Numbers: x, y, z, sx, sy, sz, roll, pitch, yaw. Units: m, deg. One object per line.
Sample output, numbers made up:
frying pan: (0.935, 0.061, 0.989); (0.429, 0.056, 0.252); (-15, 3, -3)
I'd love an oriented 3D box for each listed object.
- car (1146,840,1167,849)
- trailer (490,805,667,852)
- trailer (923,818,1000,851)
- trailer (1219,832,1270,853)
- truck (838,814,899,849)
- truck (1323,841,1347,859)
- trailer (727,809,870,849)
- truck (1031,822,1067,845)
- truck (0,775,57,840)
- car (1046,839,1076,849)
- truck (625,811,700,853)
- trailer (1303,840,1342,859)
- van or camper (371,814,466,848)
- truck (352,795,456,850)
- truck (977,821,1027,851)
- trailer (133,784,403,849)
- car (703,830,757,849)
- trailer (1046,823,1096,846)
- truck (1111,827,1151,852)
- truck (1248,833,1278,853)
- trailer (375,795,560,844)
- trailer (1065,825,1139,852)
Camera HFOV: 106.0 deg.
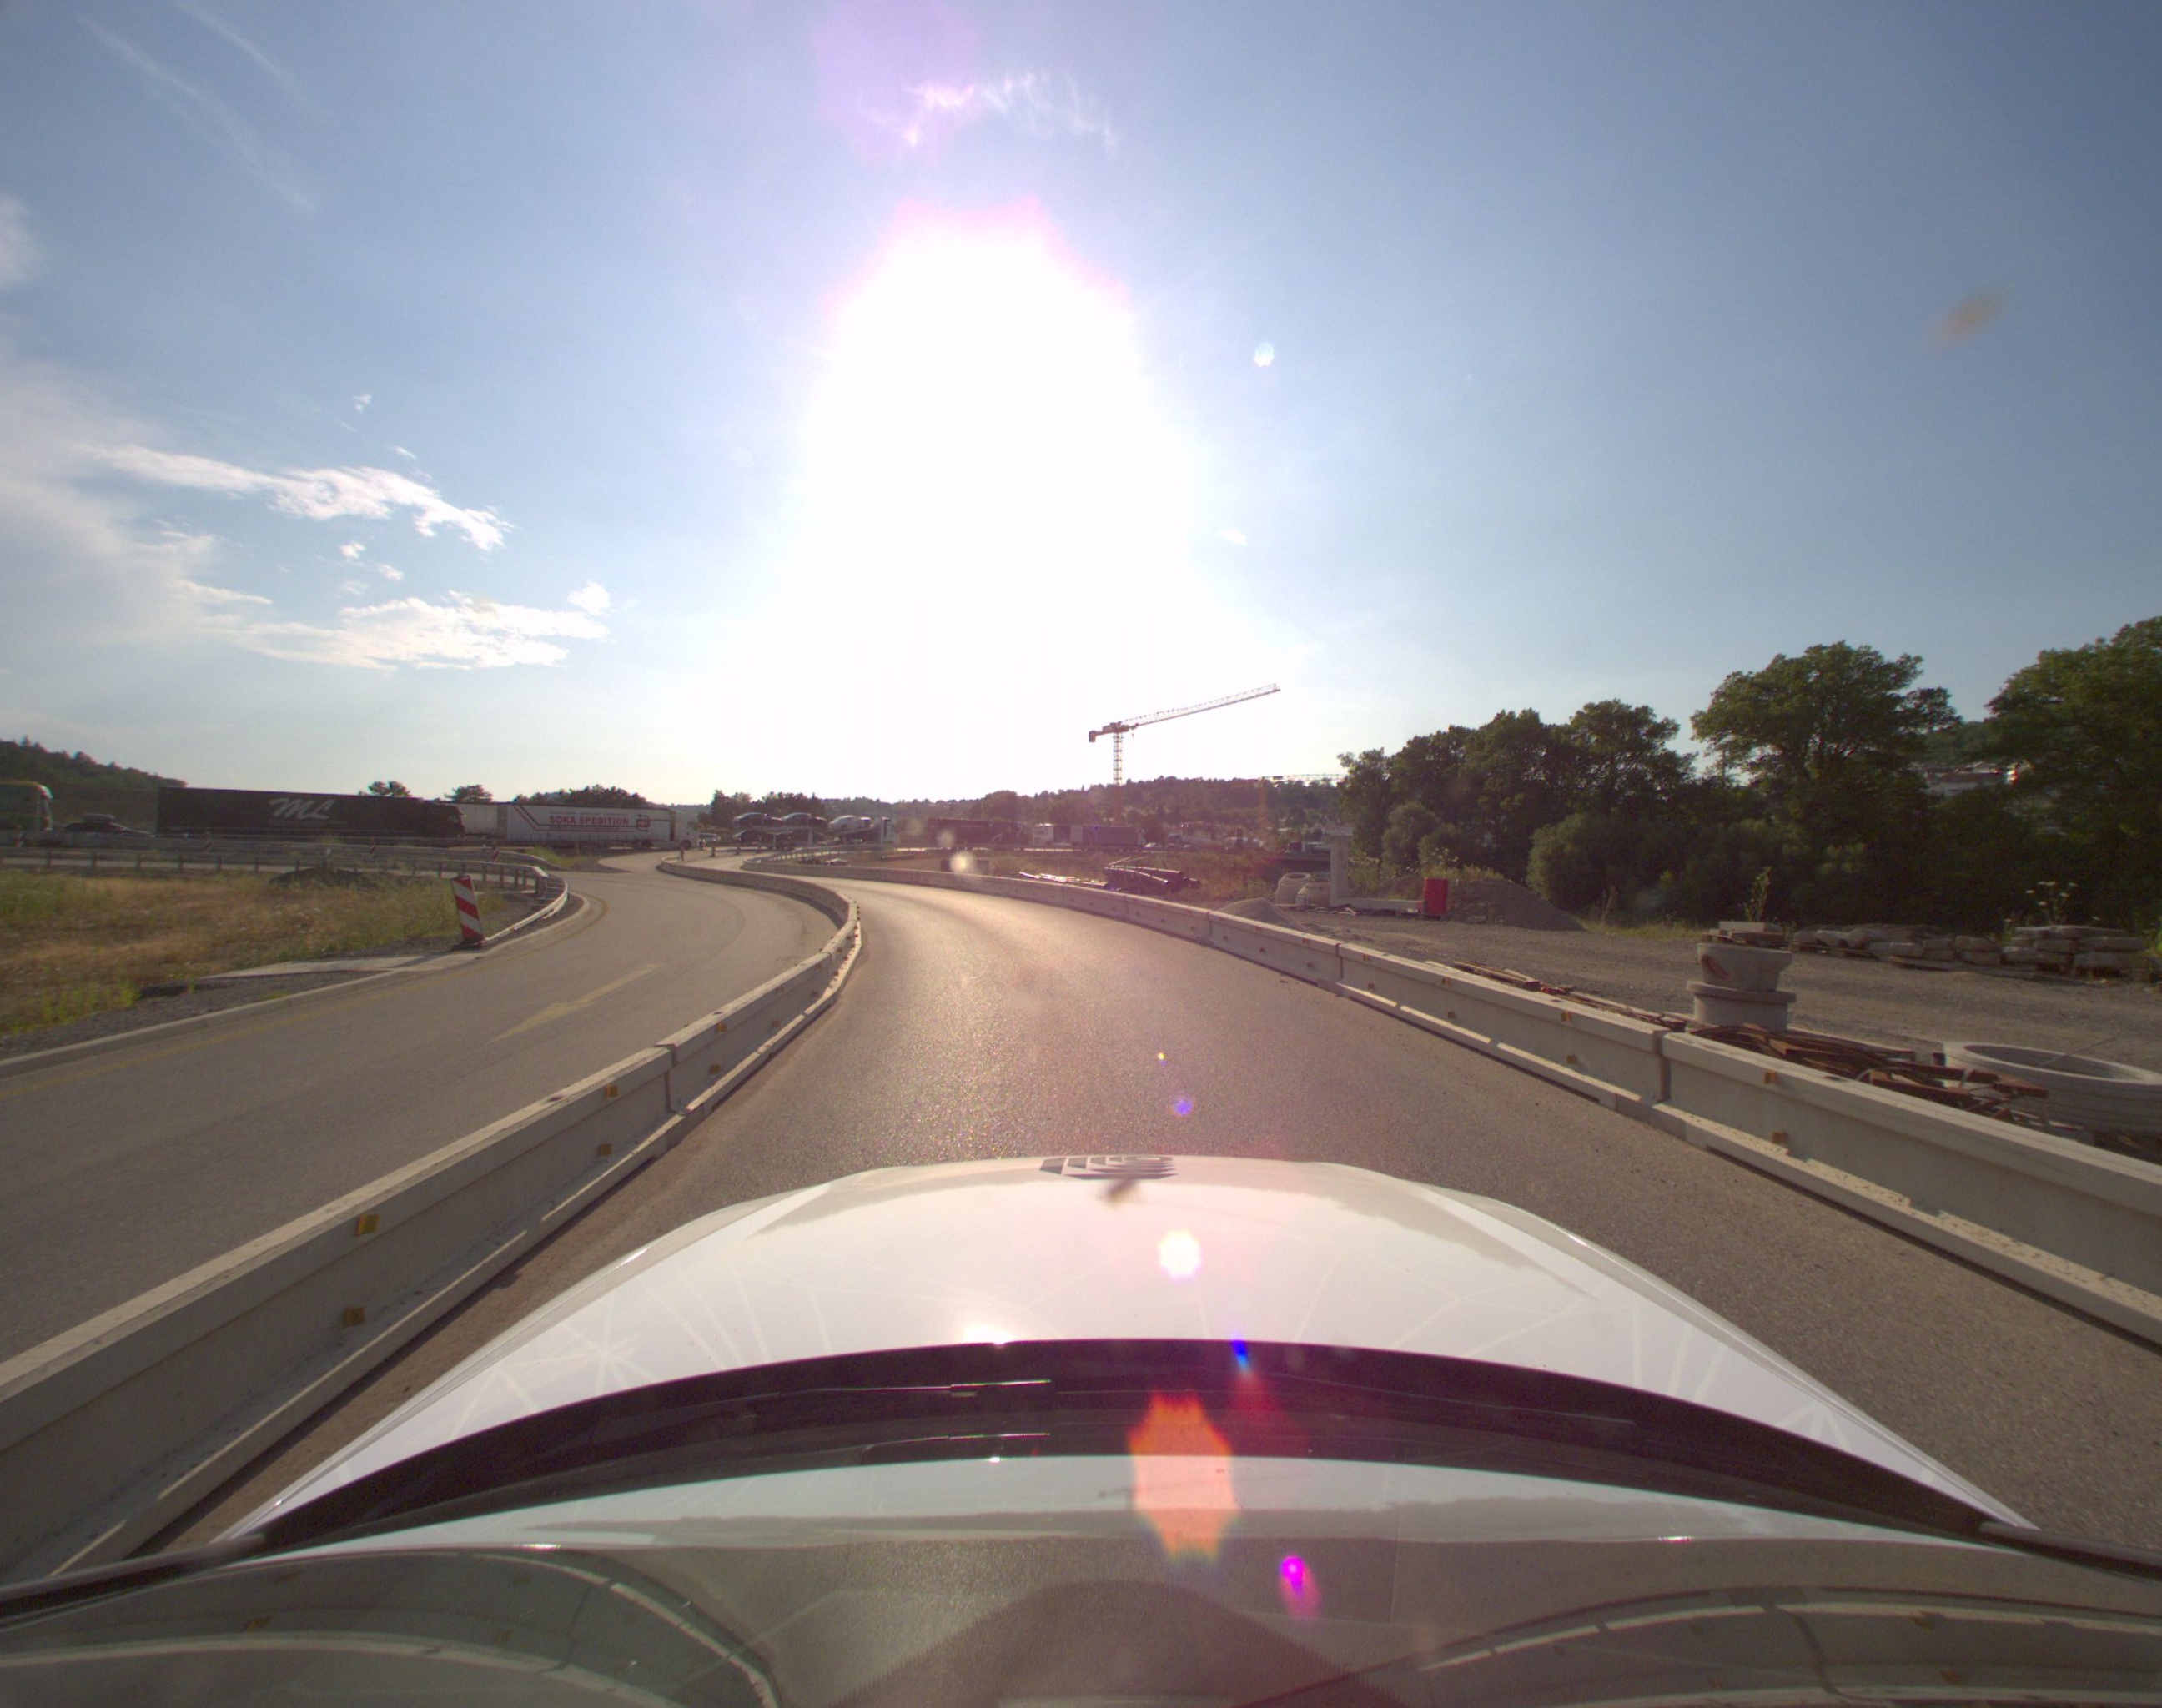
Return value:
car: (14.296, -1.771, 153.504); (1.641, 1.500, 4.264); (4, 3, 41)
trailer: (-45.752, -2.199, 74.882); (2.457, 3.878, 13.715); (2, 1, 40)
trailer: (-15.929, -2.570, 109.476); (2.931, 4.091, 10.859); (1, 0, 42)
trailer: (33.612, -2.353, 166.966); (3.353, 3.996, 14.836); (2, 1, 40)
truck: (-25.587, -2.648, 98.300); (2.821, 3.996, 6.665); (2, 1, 40)
truck: (61.918, -0.936, 198.725); (3.069, 4.285, 6.665); (2, 1, 41)
trailer: (-31.366, -2.704, 91.577); (2.830, 3.996, 15.843); (2, 1, 40)
truck: (-5.298, -3.348, 136.616); (2.968, 3.727, 5.723); (0, 0, 41)
truck: (-67.316, -2.869, 49.593); (2.457, 3.901, 6.048); (2, 1, 41)
car: (-3.299, -1.574, 134.372); (2.010, 1.500, 5.010); (4, 3, 41)
truck: (-41.199, -2.114, 80.250); (2.457, 3.878, 6.048); (2, 1, 40)
trailer: (57.451, -0.988, 193.486); (3.074, 4.313, 14.339); (2, 1, 40)
van or camper: (-55.728, -1.926, 68.624); (1.975, 2.619, 5.938); (3, 1, 43)
truck: (-53.919, -2.446, 64.940); (2.457, 4.060, 6.048); (2, 1, 42)
truck: (-11.095, -2.522, 114.898); (2.858, 3.996, 6.664); (2, 1, 42)
trailer: (-58.695, -2.539, 59.543); (2.457, 4.061, 13.714); (2, 1, 42)
car: (-38.733, -1.602, 89.965); (2.010, 1.980, 5.010); (4, 3, 41)
trailer: (-1.646, -3.324, 140.773); (2.978, 3.751, 9.628); (0, 0, 42)
truck: (8.495, -2.451, 137.786); (3.312, 3.996, 6.665); (2, 1, 41)
truck: (38.579, -2.310, 172.779); (3.358, 3.996, 6.665); (2, 1, 41)
trailer: (-57.289, -3.058, 76.645); (2.830, 3.996, 13.559); (2, 1, 40)
trailer: (3.560, -2.493, 132.090); (3.353, 3.996, 14.836); (2, 1, 40)
